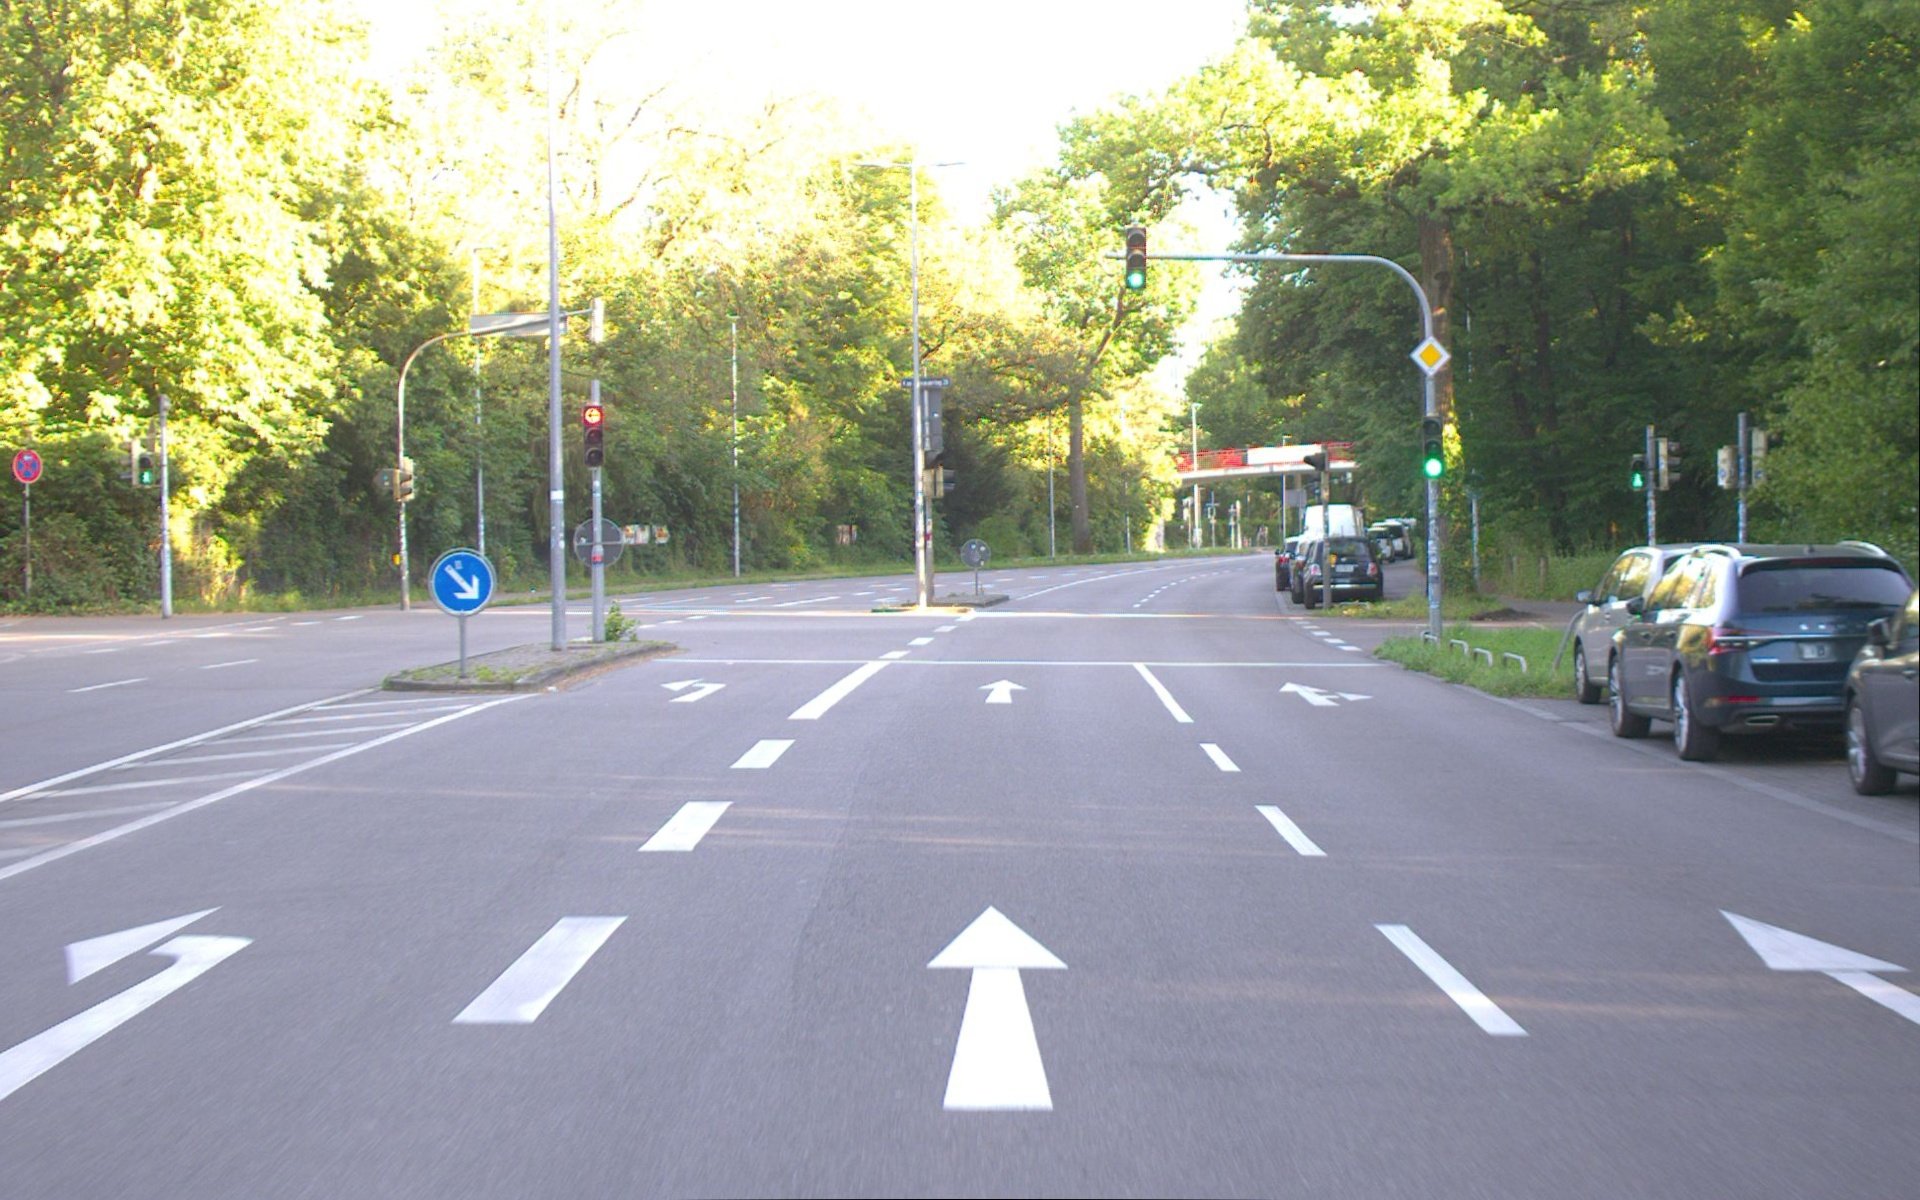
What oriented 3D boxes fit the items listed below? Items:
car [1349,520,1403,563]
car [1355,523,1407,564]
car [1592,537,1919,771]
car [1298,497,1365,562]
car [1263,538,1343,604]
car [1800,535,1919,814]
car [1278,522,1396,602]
[{"bbox_3d":[18.474,-2.614,152.844,1.993,1.897,4.000,0,1,1],"label":"car"},{"bbox_3d":[19.641,-2.634,160.541,1.993,1.897,4.000,0,1,1],"label":"car"},{"bbox_3d":[5.791,0.318,24.671,1.728,1.456,4.167,-2,1,0],"label":"car"},{"bbox_3d":[13.689,-2.614,126.950,2.308,2.328,4.559,0,1,5],"label":"car"},{"bbox_3d":[9.274,-0.800,93.266,1.994,1.612,4.000,-3,1,5],"label":"car"},{"bbox_3d":[6.059,0.381,19.165,1.728,1.485,4.090,-2,1,0],"label":"car"},{"bbox_3d":[7.835,-0.803,71.753,1.993,1.612,4.000,0,1,-1],"label":"car"}]
